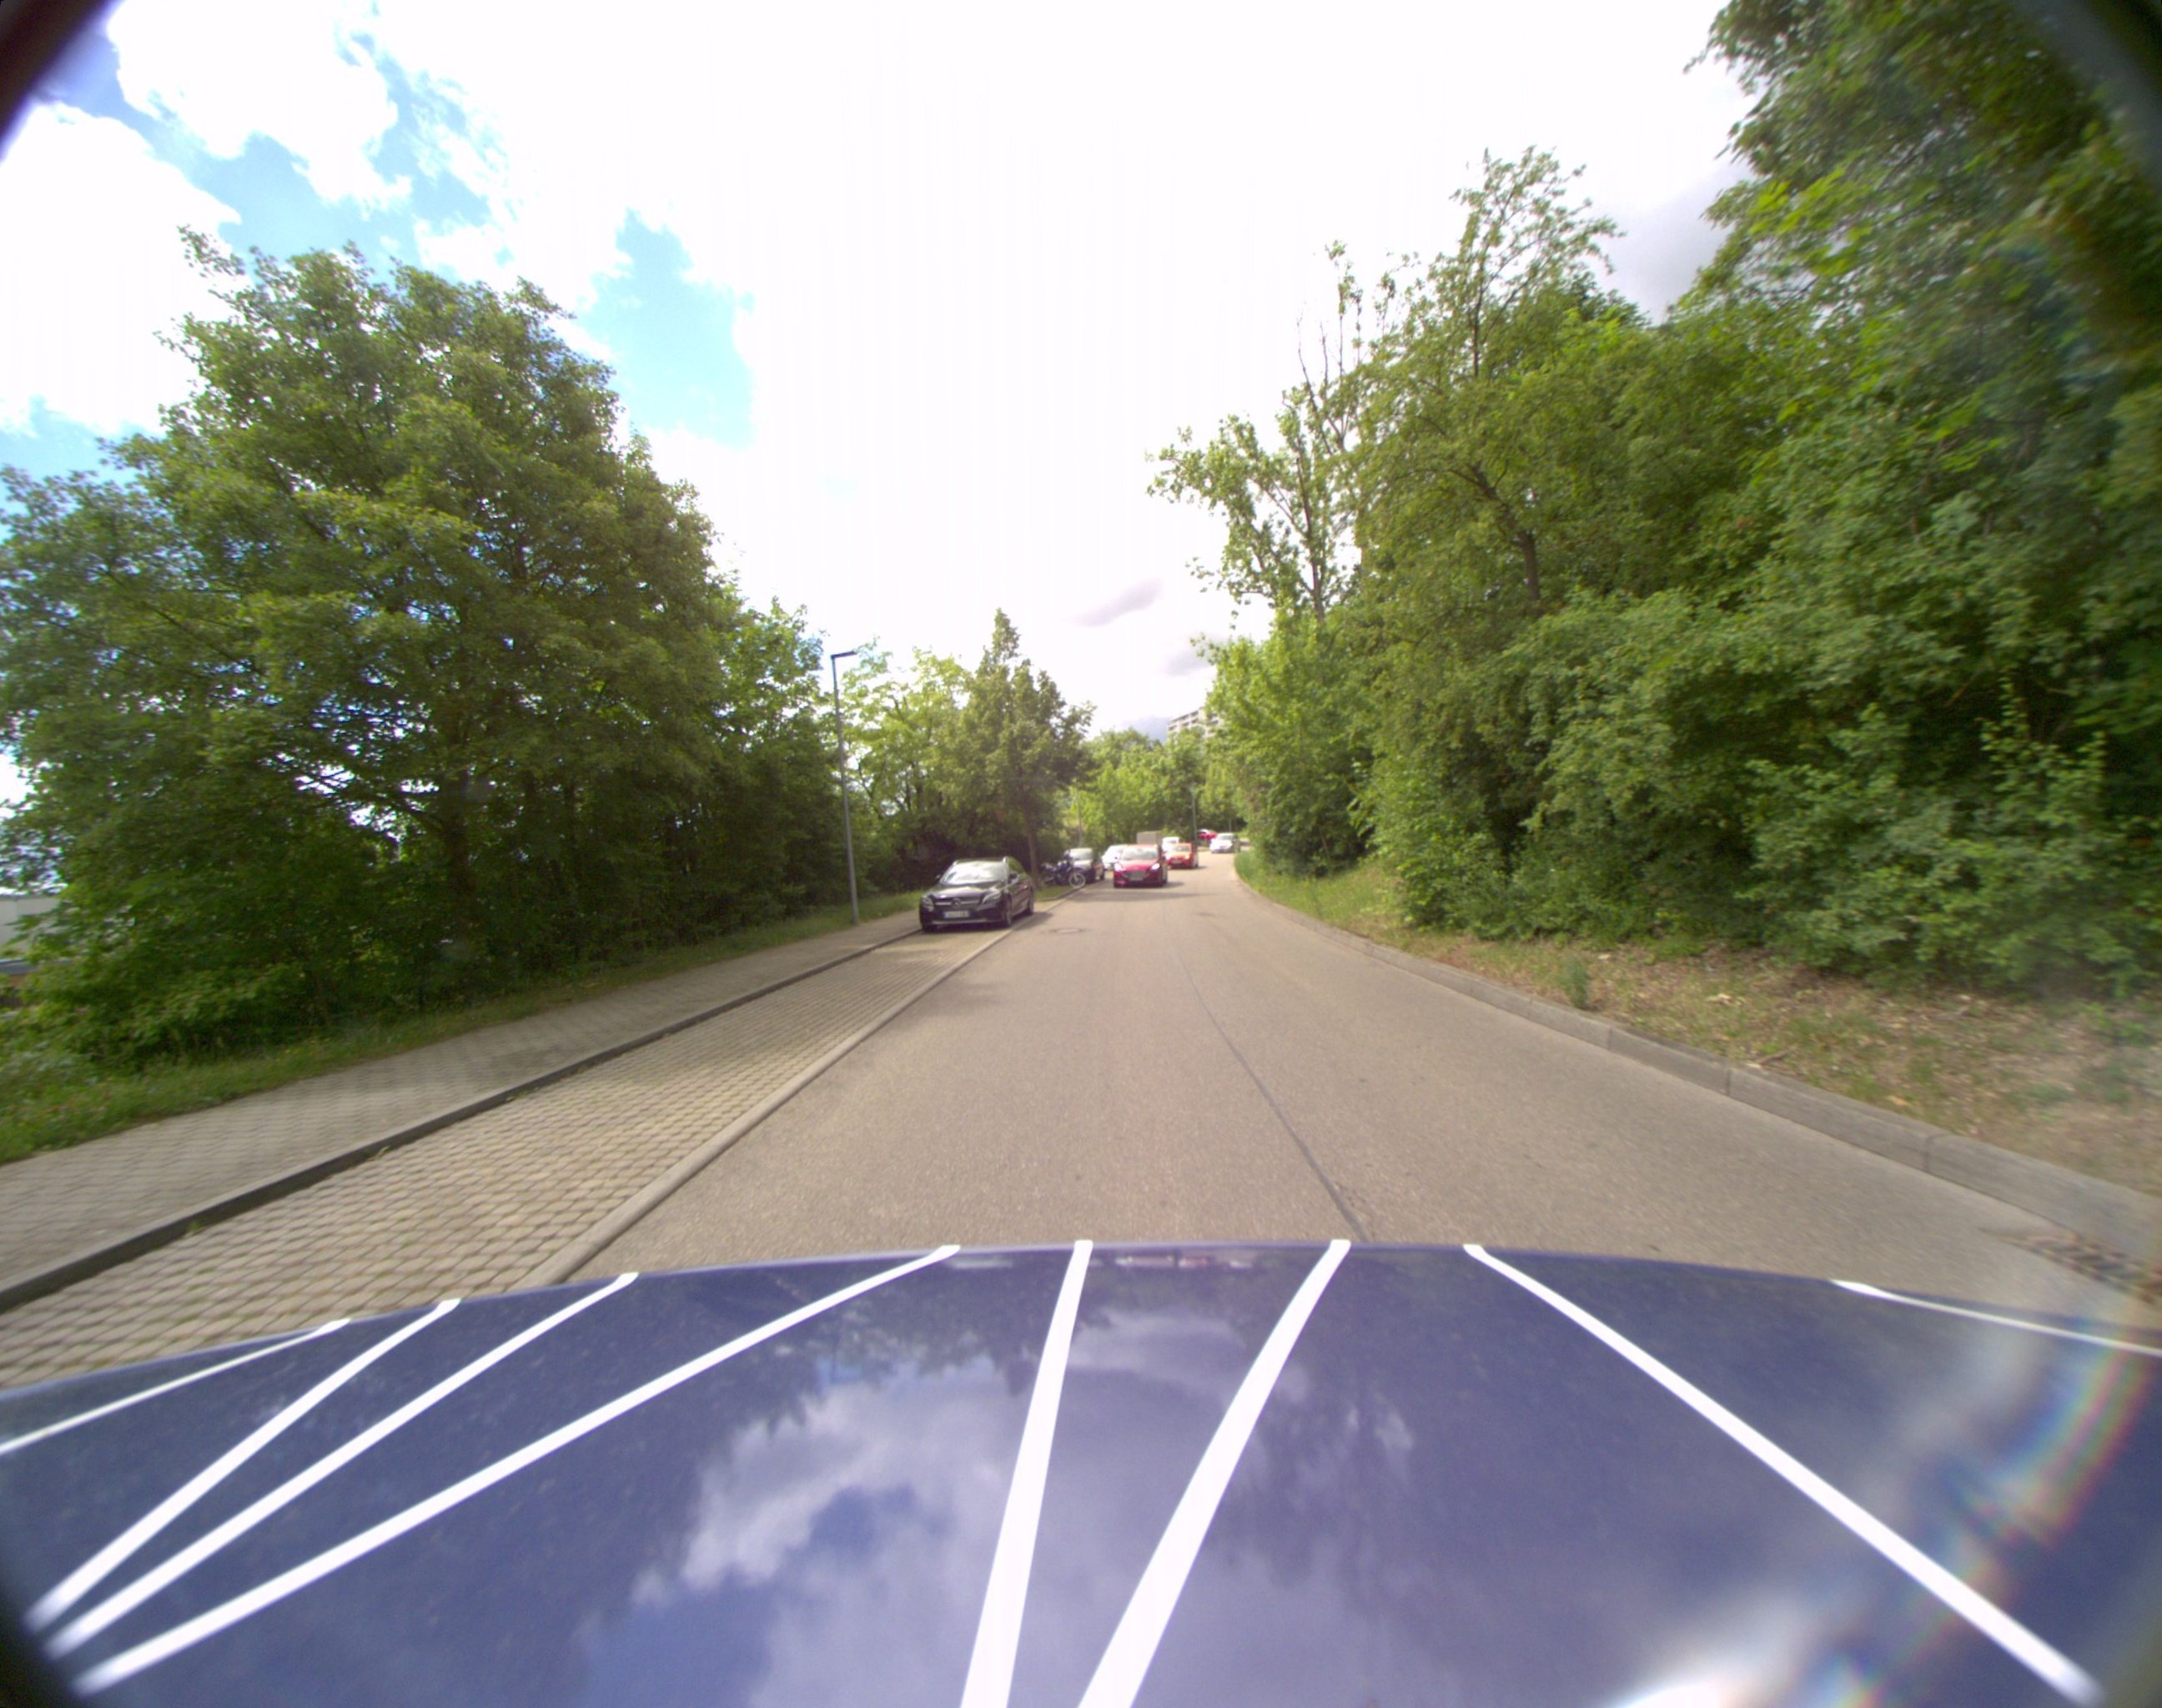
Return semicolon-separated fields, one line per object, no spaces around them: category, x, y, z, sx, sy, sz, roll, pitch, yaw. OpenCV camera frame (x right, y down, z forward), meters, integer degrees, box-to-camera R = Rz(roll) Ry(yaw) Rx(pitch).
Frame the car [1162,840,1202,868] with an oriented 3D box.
car;5.915;-0.009;44.228;1.794;1.405;4.115;0;3;15

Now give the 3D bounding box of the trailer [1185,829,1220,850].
trailer;10.782;-1.322;67.383;1.811;1.570;4.495;-1;3;25

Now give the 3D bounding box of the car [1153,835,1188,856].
car;6.953;-0.678;58.852;1.707;1.469;3.787;-1;3;21

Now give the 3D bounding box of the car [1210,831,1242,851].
car;12.124;-1.111;63.443;1.793;1.500;4.118;-2;2;22

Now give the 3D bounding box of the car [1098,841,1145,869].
car;2.443;0.020;44.434;1.865;1.469;4.905;-1;2;13

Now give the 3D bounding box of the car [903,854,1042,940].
car;-2.221;0.841;16.971;1.897;1.521;4.548;-3;0;7

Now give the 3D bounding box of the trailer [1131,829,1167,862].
trailer;4.785;-0.608;52.959;1.732;2.067;3.786;-1;3;17

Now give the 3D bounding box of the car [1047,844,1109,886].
car;-0.053;0.438;33.128;1.772;1.509;4.109;-3;2;12

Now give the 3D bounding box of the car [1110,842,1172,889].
car;2.467;0.390;30.188;1.910;1.689;4.389;-1;2;11

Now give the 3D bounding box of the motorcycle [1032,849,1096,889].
motorcycle;-0.667;0.573;29.423;2.306;1.467;0.977;0;2;35

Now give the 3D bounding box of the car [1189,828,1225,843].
car;13.969;-2.035;84.183;3.478;1.509;1.654;-1;5;45
